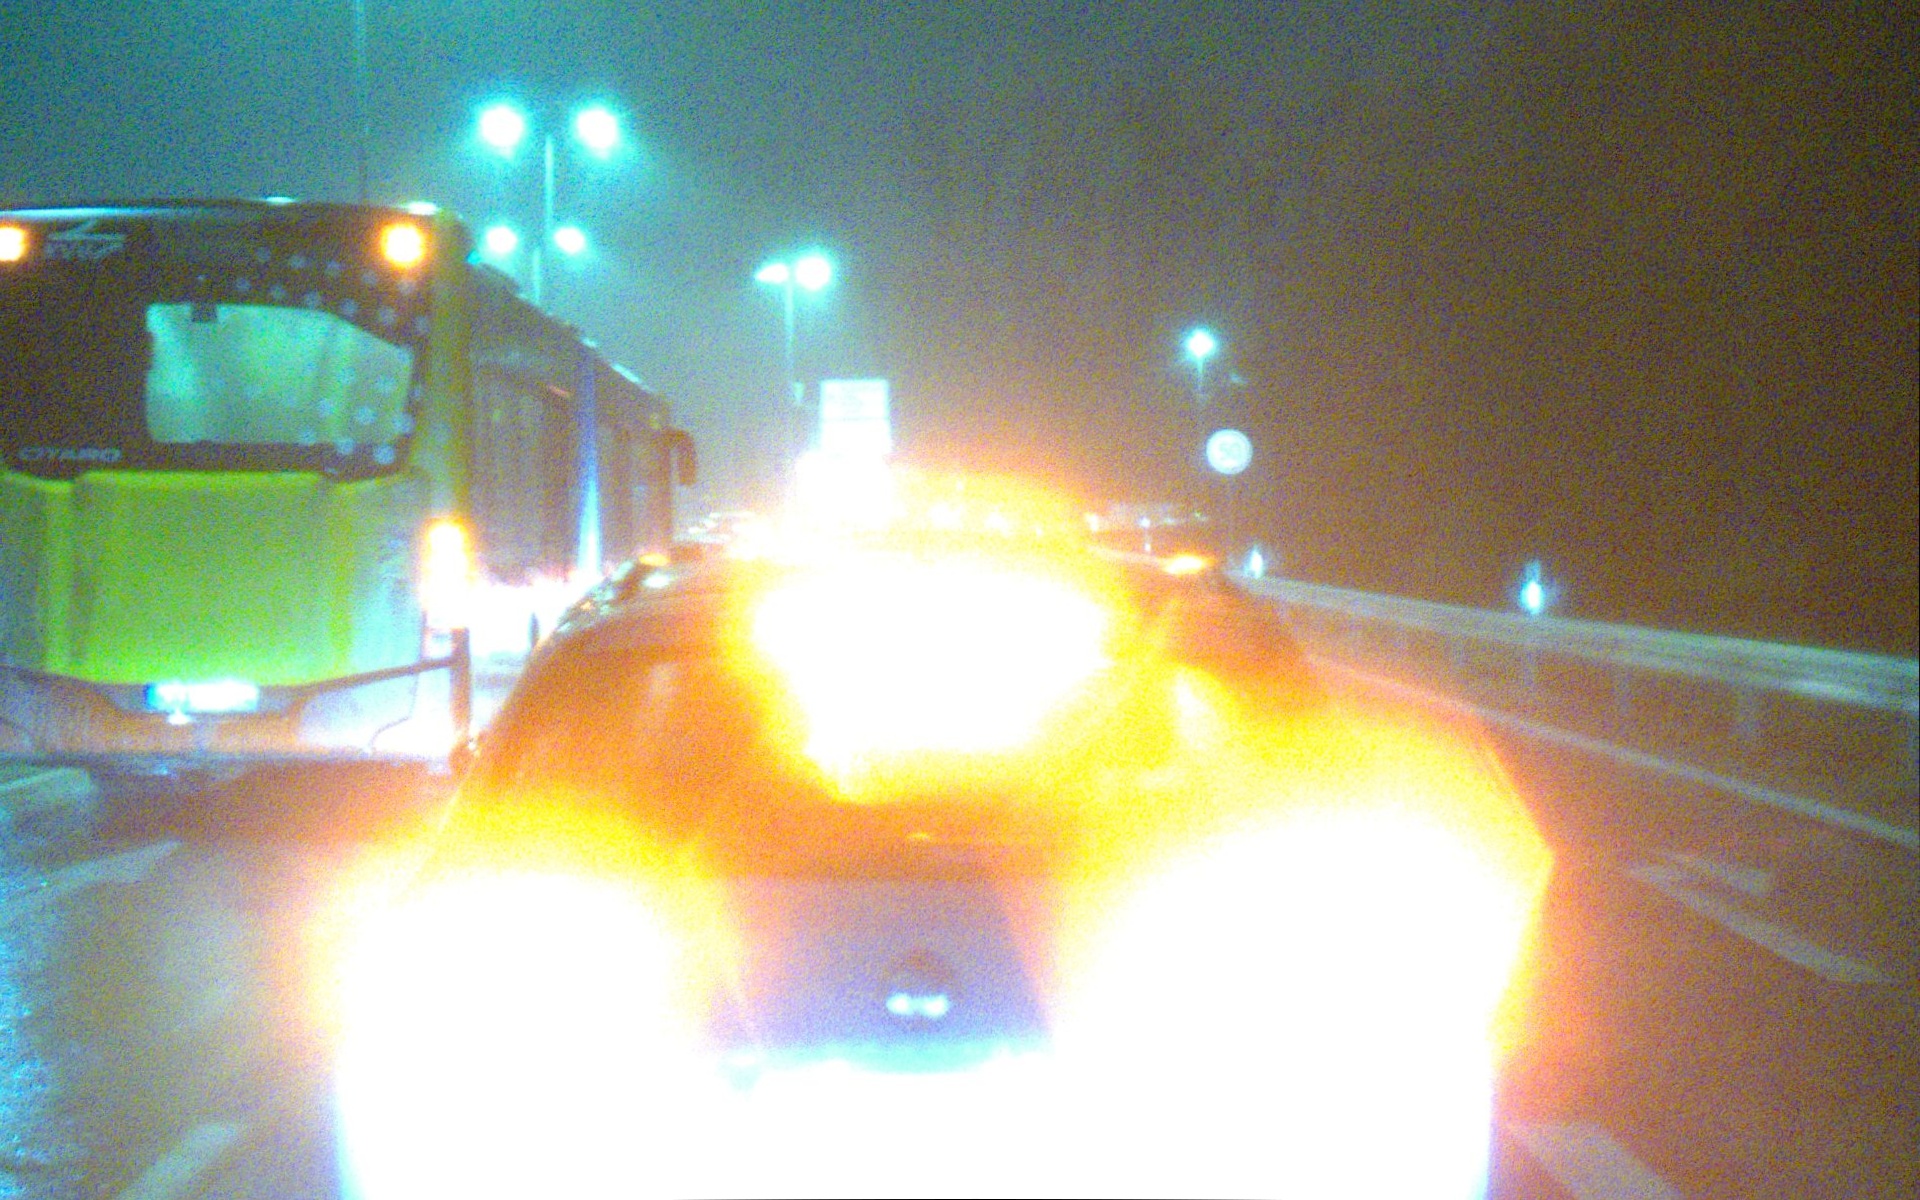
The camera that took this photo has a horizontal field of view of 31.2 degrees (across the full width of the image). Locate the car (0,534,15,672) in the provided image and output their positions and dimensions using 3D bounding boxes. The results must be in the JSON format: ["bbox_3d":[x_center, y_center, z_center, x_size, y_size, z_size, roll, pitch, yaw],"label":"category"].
[{"bbox_3d":[-11.613,0.075,37.152,1.751,1.547,4.010,-1,1,-1],"label":"car"}]

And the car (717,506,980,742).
[{"bbox_3d":[-0.876,0.122,24.874,1.739,1.559,3.777,0,1,-4],"label":"car"}]

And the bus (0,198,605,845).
[{"bbox_3d":[-3.767,-0.450,20.390,2.815,3.013,8.688,0,1,-3],"label":"bus"}]

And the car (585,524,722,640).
[{"bbox_3d":[-4.249,-0.284,48.112,1.779,1.538,3.875,0,1,-3],"label":"car"}]

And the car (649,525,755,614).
[{"bbox_3d":[-4.627,-0.577,62.025,1.779,1.538,3.875,0,1,-3],"label":"car"}]

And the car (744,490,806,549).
[{"bbox_3d":[-6.416,-2.781,119.517,1.993,2.007,4.000,1,1,-1],"label":"car"}]

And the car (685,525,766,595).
[{"bbox_3d":[-5.301,-0.918,77.559,1.779,1.538,3.875,0,1,-4],"label":"car"}]

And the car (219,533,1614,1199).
[{"bbox_3d":[-0.084,0.615,6.782,1.821,1.479,4.568,0,1,-1],"label":"car"}]

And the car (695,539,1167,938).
[{"bbox_3d":[-0.208,0.473,15.027,1.731,1.444,4.725,0,1,-2],"label":"car"}]

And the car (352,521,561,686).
[{"bbox_3d":[-4.957,-0.005,34.260,1.779,1.538,3.875,0,1,-4],"label":"car"}]

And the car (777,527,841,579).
[{"bbox_3d":[-4.518,-1.422,103.298,1.779,1.538,3.875,0,1,-1],"label":"car"}]
